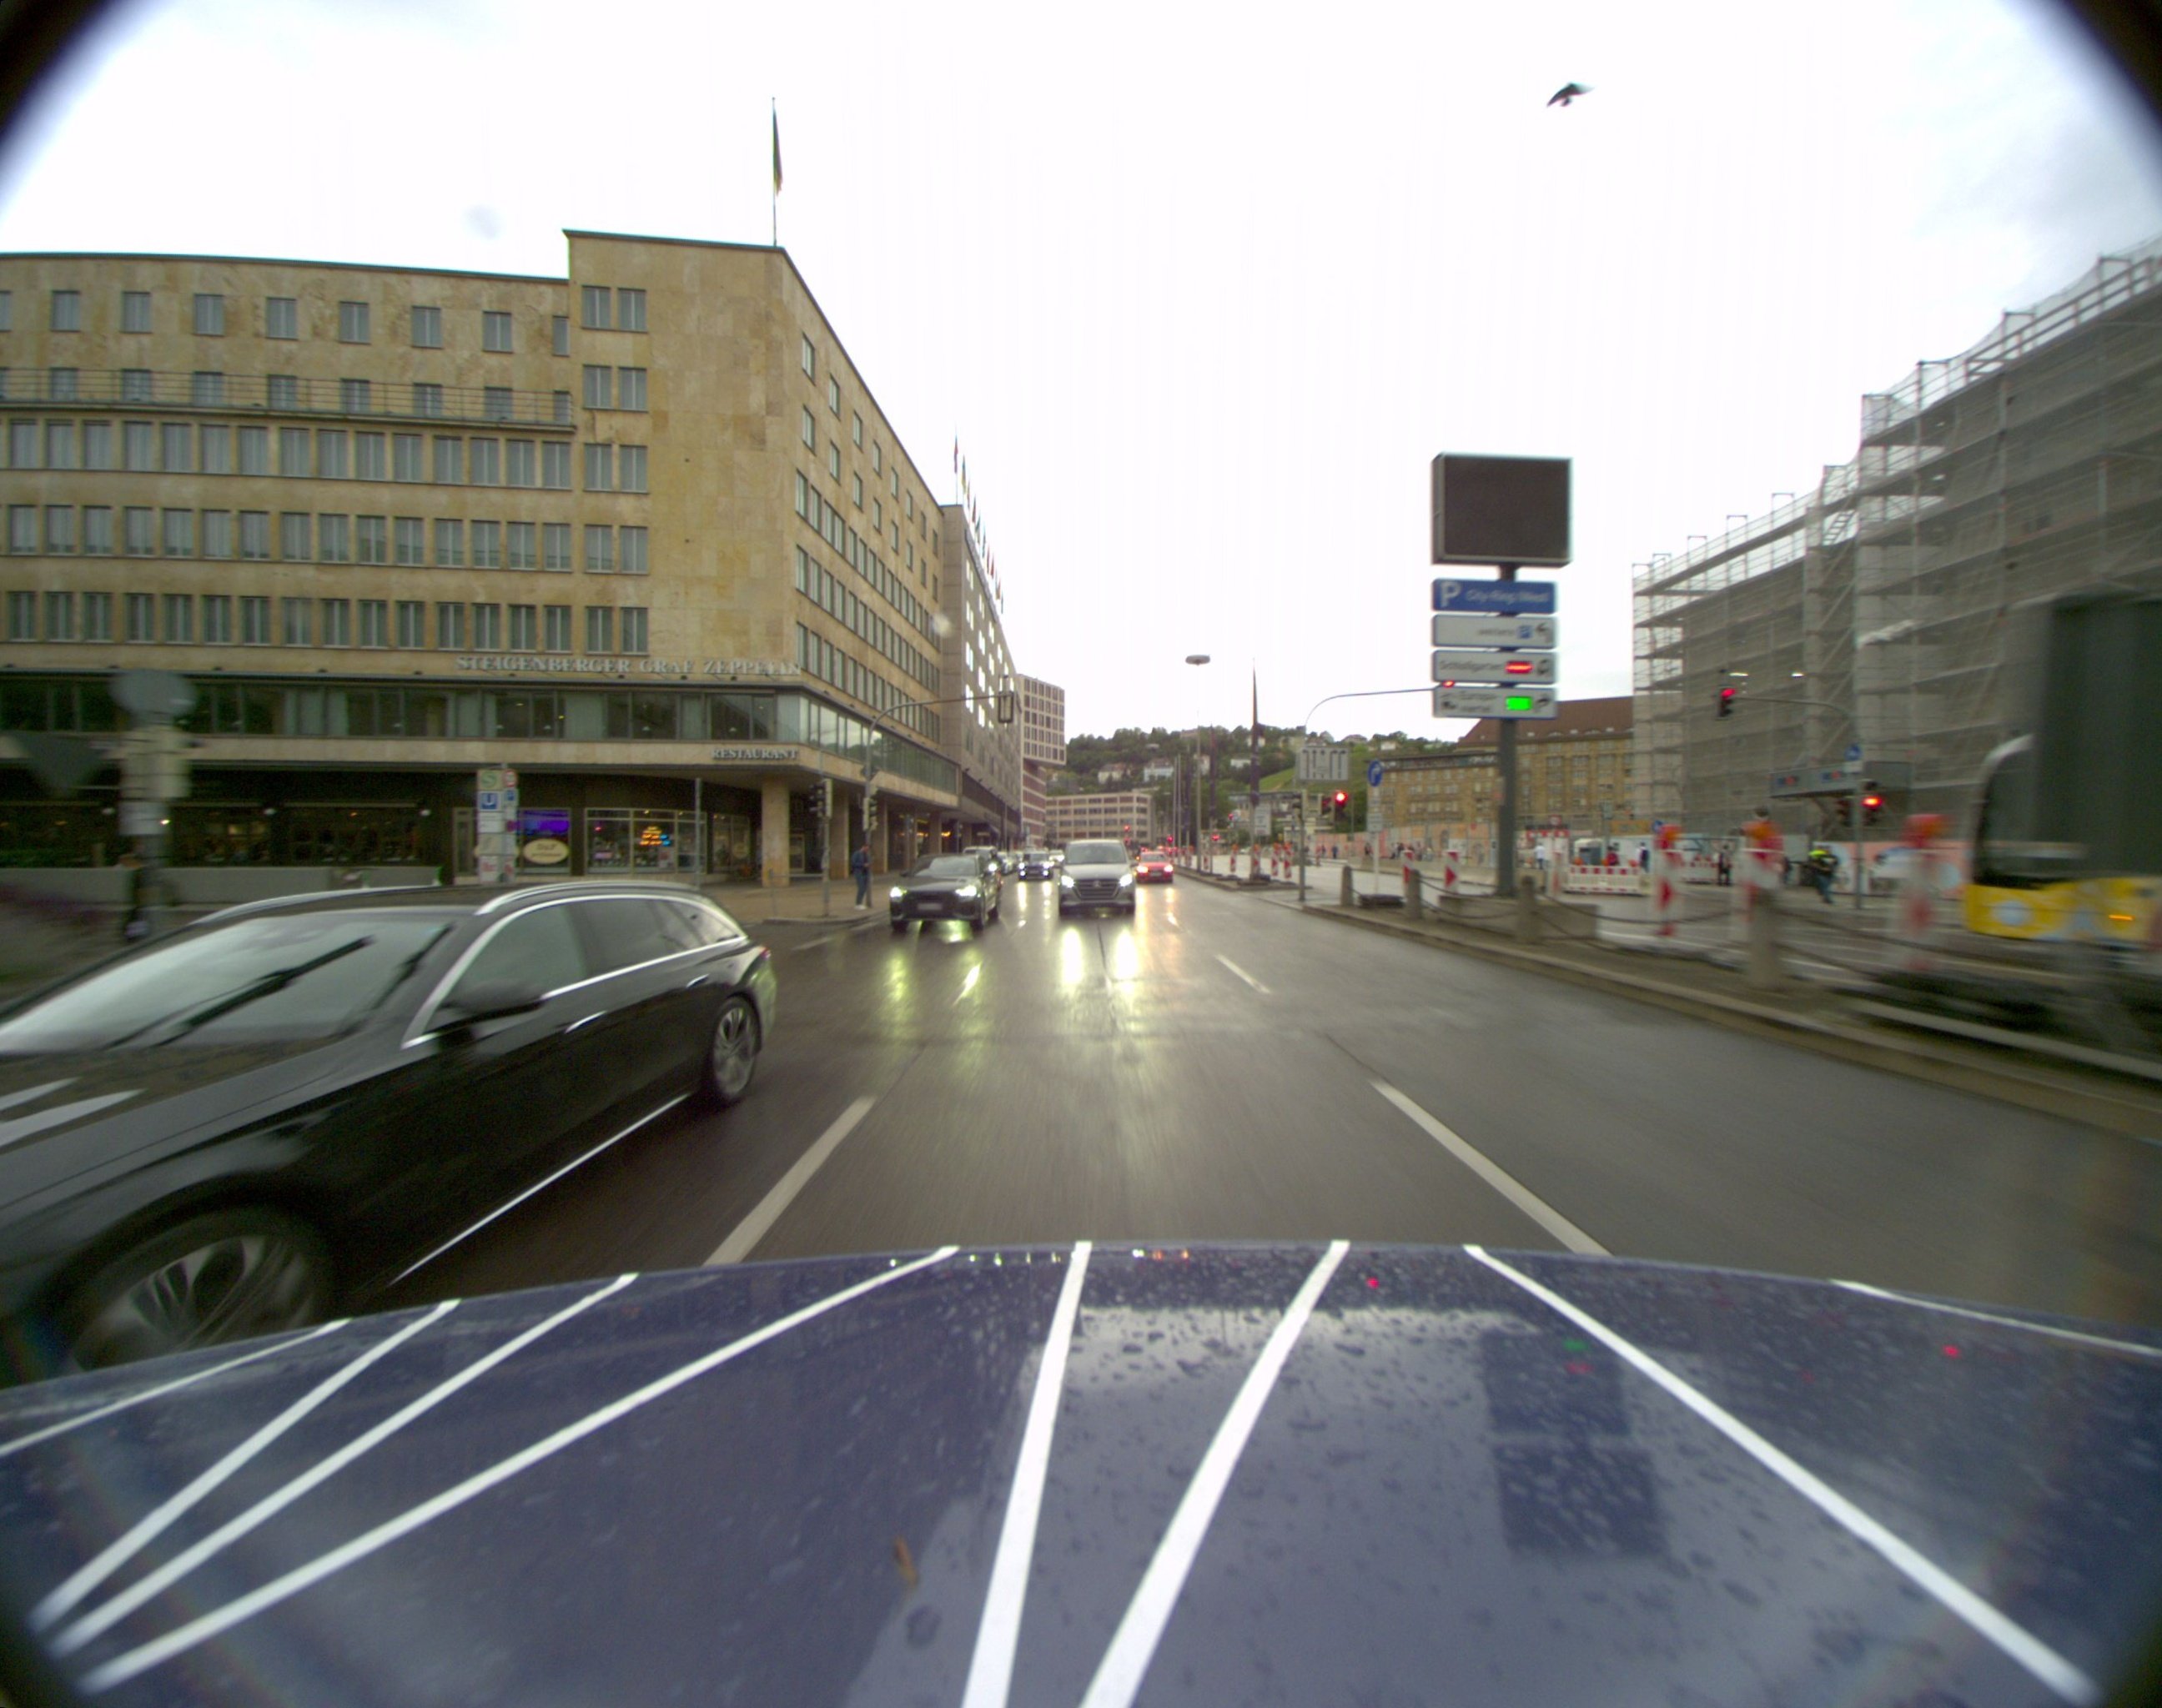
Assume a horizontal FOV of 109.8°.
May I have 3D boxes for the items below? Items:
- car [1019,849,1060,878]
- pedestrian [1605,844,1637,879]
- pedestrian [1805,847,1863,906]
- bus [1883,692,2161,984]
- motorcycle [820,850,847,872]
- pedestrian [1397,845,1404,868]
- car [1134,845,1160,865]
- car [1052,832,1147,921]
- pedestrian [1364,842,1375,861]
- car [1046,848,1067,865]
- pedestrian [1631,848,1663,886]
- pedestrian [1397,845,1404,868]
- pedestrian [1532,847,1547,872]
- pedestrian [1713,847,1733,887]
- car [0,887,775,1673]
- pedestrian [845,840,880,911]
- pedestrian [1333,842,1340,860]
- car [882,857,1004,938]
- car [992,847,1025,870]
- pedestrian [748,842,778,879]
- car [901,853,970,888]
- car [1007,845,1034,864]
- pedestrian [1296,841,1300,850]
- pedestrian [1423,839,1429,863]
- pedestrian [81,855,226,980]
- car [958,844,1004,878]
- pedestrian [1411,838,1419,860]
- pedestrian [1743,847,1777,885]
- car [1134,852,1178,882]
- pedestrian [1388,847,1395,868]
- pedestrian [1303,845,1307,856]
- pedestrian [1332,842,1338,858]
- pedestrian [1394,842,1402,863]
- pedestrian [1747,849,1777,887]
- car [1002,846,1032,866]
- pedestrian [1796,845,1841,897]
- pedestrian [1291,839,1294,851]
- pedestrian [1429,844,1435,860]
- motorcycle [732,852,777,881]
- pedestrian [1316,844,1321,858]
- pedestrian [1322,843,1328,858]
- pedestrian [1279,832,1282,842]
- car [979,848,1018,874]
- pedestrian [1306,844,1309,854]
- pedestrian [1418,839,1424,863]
[{"bbox_3d":[-2.280,0.513,42.620,1.998,1.548,3.908,0,0,0],"label":"car"},{"bbox_3d":[24.458,0.326,34.420,0.953,1.557,0.709,0,1,2],"label":"pedestrian"},{"bbox_3d":[22.183,0.648,22.407,0.756,1.671,0.964,0,1,1],"label":"pedestrian"},{"bbox_3d":[14.515,-0.137,2.885,2.917,3.557,19.076,1,0,1],"label":"bus"},{"bbox_3d":[-14.782,0.401,45.438,0.730,1.223,2.536,0,0,1],"label":"motorcycle"},{"bbox_3d":[24.018,0.199,57.149,0.368,1.759,0.365,-1,1,2],"label":"pedestrian"},{"bbox_3d":[5.153,0.051,59.681,1.672,1.512,3.725,-1,1,1],"label":"car"},{"bbox_3d":[0.313,0.487,19.386,1.999,1.893,5.249,-2,0,-3],"label":"car"},{"bbox_3d":[25.666,-0.238,67.567,0.807,1.675,0.617,0,1,4],"label":"pedestrian"},{"bbox_3d":[-2.267,0.221,71.638,1.763,1.582,3.842,-1,1,1],"label":"car"},{"bbox_3d":[24.898,0.560,33.456,0.756,1.654,0.872,0,1,2],"label":"pedestrian"},{"bbox_3d":[24.307,0.166,57.826,0.367,1.759,0.390,-1,1,4],"label":"pedestrian"},{"bbox_3d":[25.794,0.315,42.740,0.565,1.435,0.528,0,1,8],"label":"pedestrian"},{"bbox_3d":[28.240,0.566,33.431,0.648,1.759,0.527,0,1,38],"label":"pedestrian"},{"bbox_3d":[-3.176,0.993,3.197,1.823,1.455,4.699,-1,0,0],"label":"car"},{"bbox_3d":[-5.966,0.571,20.792,0.674,1.908,0.792,-1,1,1],"label":"pedestrian"},{"bbox_3d":[27.982,-0.346,83.262,0.593,2.022,0.686,-1,1,0],"label":"pedestrian"},{"bbox_3d":[-2.844,0.837,16.554,1.877,1.499,4.164,0,0,0],"label":"car"},{"bbox_3d":[-5.340,0.303,56.541,1.998,1.627,4.559,0,0,0],"label":"car"},{"bbox_3d":[-16.142,0.311,38.579,1.000,1.836,1.109,0,1,2],"label":"pedestrian"},{"bbox_3d":[-6.449,0.694,34.197,2.194,1.405,4.482,0,0,0],"label":"car"},{"bbox_3d":[-5.369,0.023,68.166,1.998,1.605,4.918,0,0,0],"label":"car"},{"bbox_3d":[30.408,-1.185,106.544,0.438,1.233,0.413,-1,1,3],"label":"pedestrian"},{"bbox_3d":[25.426,-0.225,55.953,0.314,1.759,0.268,-1,1,4],"label":"pedestrian"},{"bbox_3d":[-13.629,0.903,11.203,0.894,1.751,0.986,-1,1,2],"label":"pedestrian"},{"bbox_3d":[-5.717,0.372,44.104,1.998,1.873,4.996,0,0,0],"label":"car"},{"bbox_3d":[24.960,-0.375,56.789,0.400,1.611,0.365,-1,1,5],"label":"pedestrian"},{"bbox_3d":[31.340,0.553,35.086,0.952,1.726,0.710,0,1,11],"label":"pedestrian"},{"bbox_3d":[3.526,0.580,36.219,1.747,1.369,4.000,0,0,1],"label":"car"},{"bbox_3d":[23.863,0.264,58.385,0.350,1.606,0.321,-1,1,1],"label":"pedestrian"},{"bbox_3d":[29.233,-0.501,99.115,0.438,1.406,0.413,-1,1,0],"label":"pedestrian"},{"bbox_3d":[30.773,-0.501,92.070,0.542,2.002,0.490,-1,1,0],"label":"pedestrian"},{"bbox_3d":[26.726,-0.159,64.062,0.517,1.745,0.463,-1,1,0],"label":"pedestrian"},{"bbox_3d":[30.088,0.621,33.575,0.665,1.655,0.697,-1,2,-8],"label":"pedestrian"},{"bbox_3d":[-5.240,0.163,62.572,1.998,1.600,4.876,0,0,0],"label":"car"},{"bbox_3d":[26.364,0.594,27.160,0.872,1.802,0.756,0,1,-5],"label":"pedestrian"},{"bbox_3d":[29.715,-1.296,106.700,0.375,1.606,0.357,-1,1,0],"label":"pedestrian"},{"bbox_3d":[25.677,-0.152,55.541,0.255,1.187,0.390,-1,1,6],"label":"pedestrian"},{"bbox_3d":[-16.536,0.604,38.581,0.964,1.444,2.850,0,0,1],"label":"motorcycle"},{"bbox_3d":[27.656,-0.326,88.473,0.438,1.606,0.413,-1,1,0],"label":"pedestrian"},{"bbox_3d":[26.834,-0.352,83.594,0.438,1.606,0.413,-1,1,0],"label":"pedestrian"},{"bbox_3d":[31.009,-2.665,118.155,0.334,1.606,0.323,-1,1,0],"label":"pedestrian"},{"bbox_3d":[-5.397,0.409,50.564,1.998,1.644,5.134,0,0,0],"label":"car"},{"bbox_3d":[28.444,-0.648,95.351,0.271,1.303,0.351,-1,1,0],"label":"pedestrian"},{"bbox_3d":[25.021,-0.220,55.874,0.311,1.759,0.346,-1,1,4],"label":"pedestrian"}]
